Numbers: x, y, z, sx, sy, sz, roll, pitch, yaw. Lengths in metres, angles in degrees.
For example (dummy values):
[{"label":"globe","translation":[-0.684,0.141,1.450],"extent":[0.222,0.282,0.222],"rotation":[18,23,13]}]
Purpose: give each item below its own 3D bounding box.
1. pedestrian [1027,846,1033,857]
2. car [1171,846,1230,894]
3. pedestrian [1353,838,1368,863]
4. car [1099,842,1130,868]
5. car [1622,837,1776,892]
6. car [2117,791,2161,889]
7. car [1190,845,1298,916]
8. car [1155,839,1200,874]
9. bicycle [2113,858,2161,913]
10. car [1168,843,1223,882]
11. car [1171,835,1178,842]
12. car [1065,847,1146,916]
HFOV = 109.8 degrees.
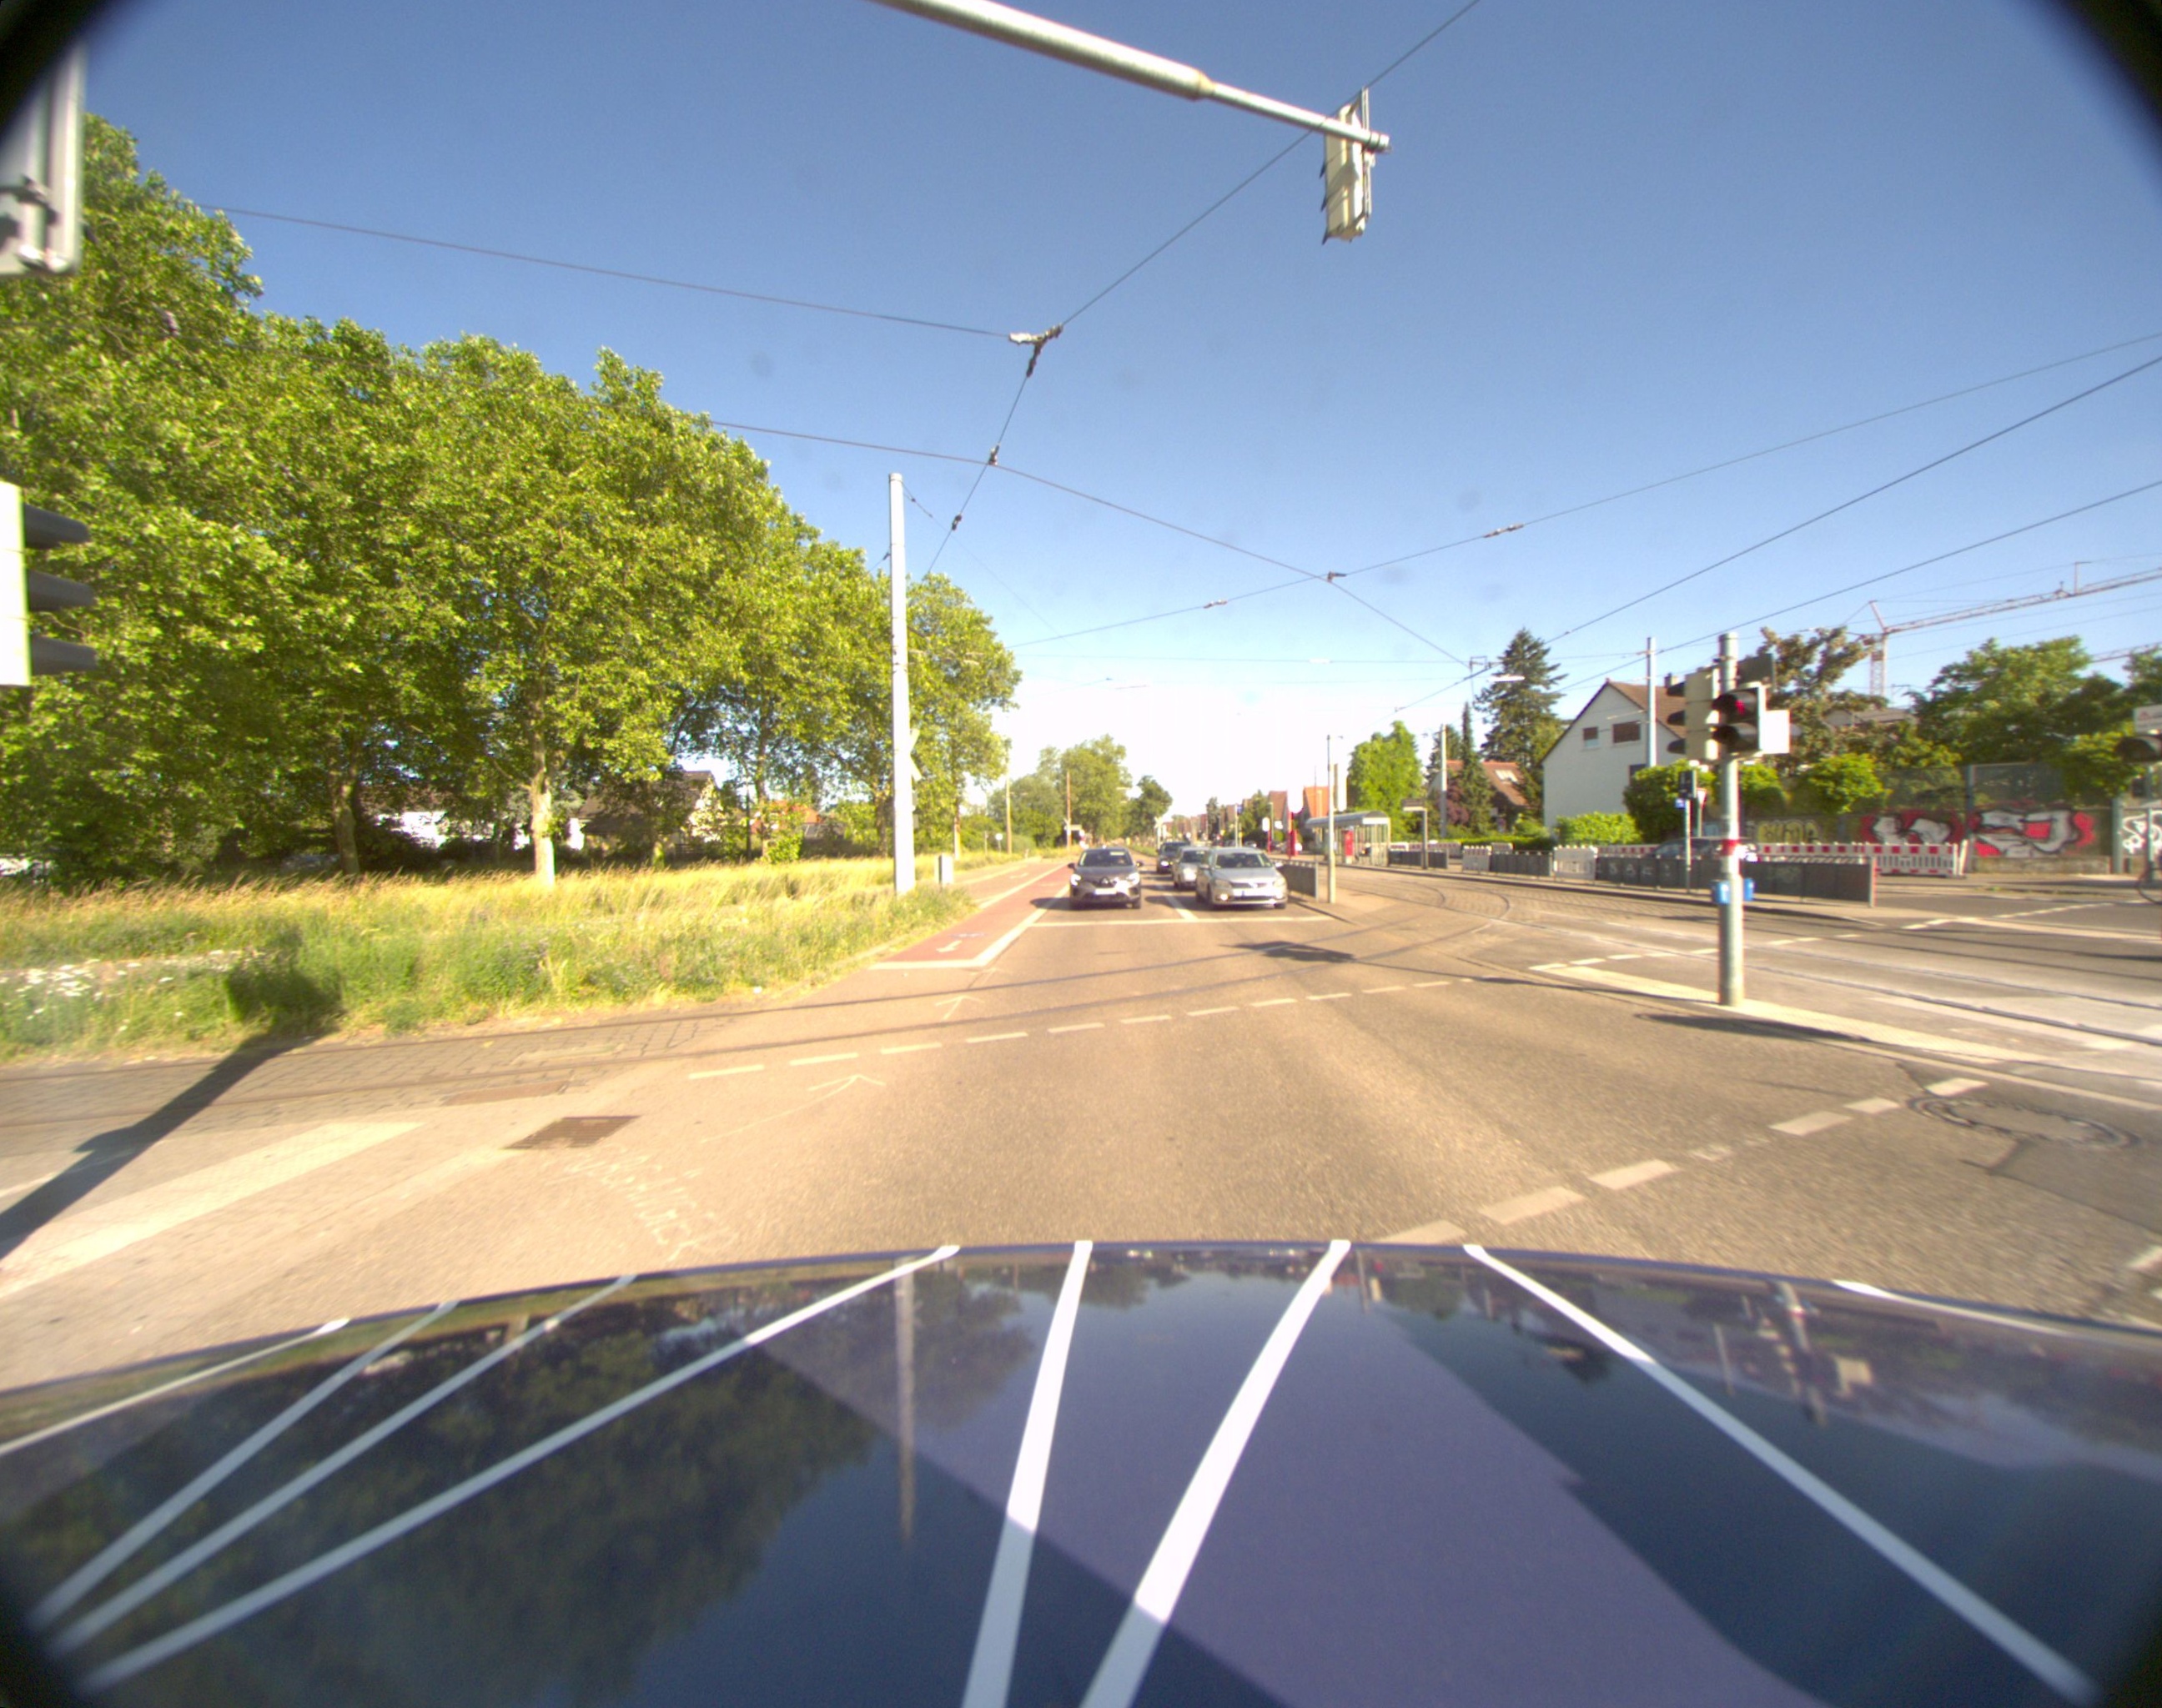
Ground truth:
[{"label":"pedestrian","translation":[-4.822,-0.223,72.068],"extent":[0.482,1.027,0.454],"rotation":[-1,1,3]},{"label":"car","translation":[4.026,0.489,26.019],"extent":[1.585,1.460,3.414],"rotation":[-2,1,2]},{"label":"pedestrian","translation":[15.958,-0.204,43.408],"extent":[0.623,1.406,0.711],"rotation":[-1,1,1]},{"label":"car","translation":[2.115,0.049,47.350],"extent":[1.838,1.541,3.816],"rotation":[-1,1,3]},{"label":"car","translation":[17.983,0.256,22.346],"extent":[1.687,1.450,3.704],"rotation":[-1,1,4]},{"label":"car","translation":[30.155,-0.405,17.875],"extent":[6.857,2.444,2.351],"rotation":[-1,1,15]},{"label":"car","translation":[3.927,0.560,19.066],"extent":[1.881,1.519,4.420],"rotation":[-1,1,2]},{"label":"car","translation":[4.917,0.106,39.360],"extent":[1.885,1.687,4.300],"rotation":[-1,1,2]},{"label":"bicycle","translation":[21.080,0.611,14.376],"extent":[0.508,1.036,1.949],"rotation":[-1,1,3]},{"label":"car","translation":[4.855,0.321,32.653],"extent":[1.754,1.525,4.194],"rotation":[-1,1,0]},{"label":"car","translation":[27.029,-4.478,219.603],"extent":[1.998,1.762,4.000],"rotation":[-1,1,4]},{"label":"car","translation":[0.668,0.620,19.376],"extent":[1.838,1.541,3.816],"rotation":[-1,1,3]}]
